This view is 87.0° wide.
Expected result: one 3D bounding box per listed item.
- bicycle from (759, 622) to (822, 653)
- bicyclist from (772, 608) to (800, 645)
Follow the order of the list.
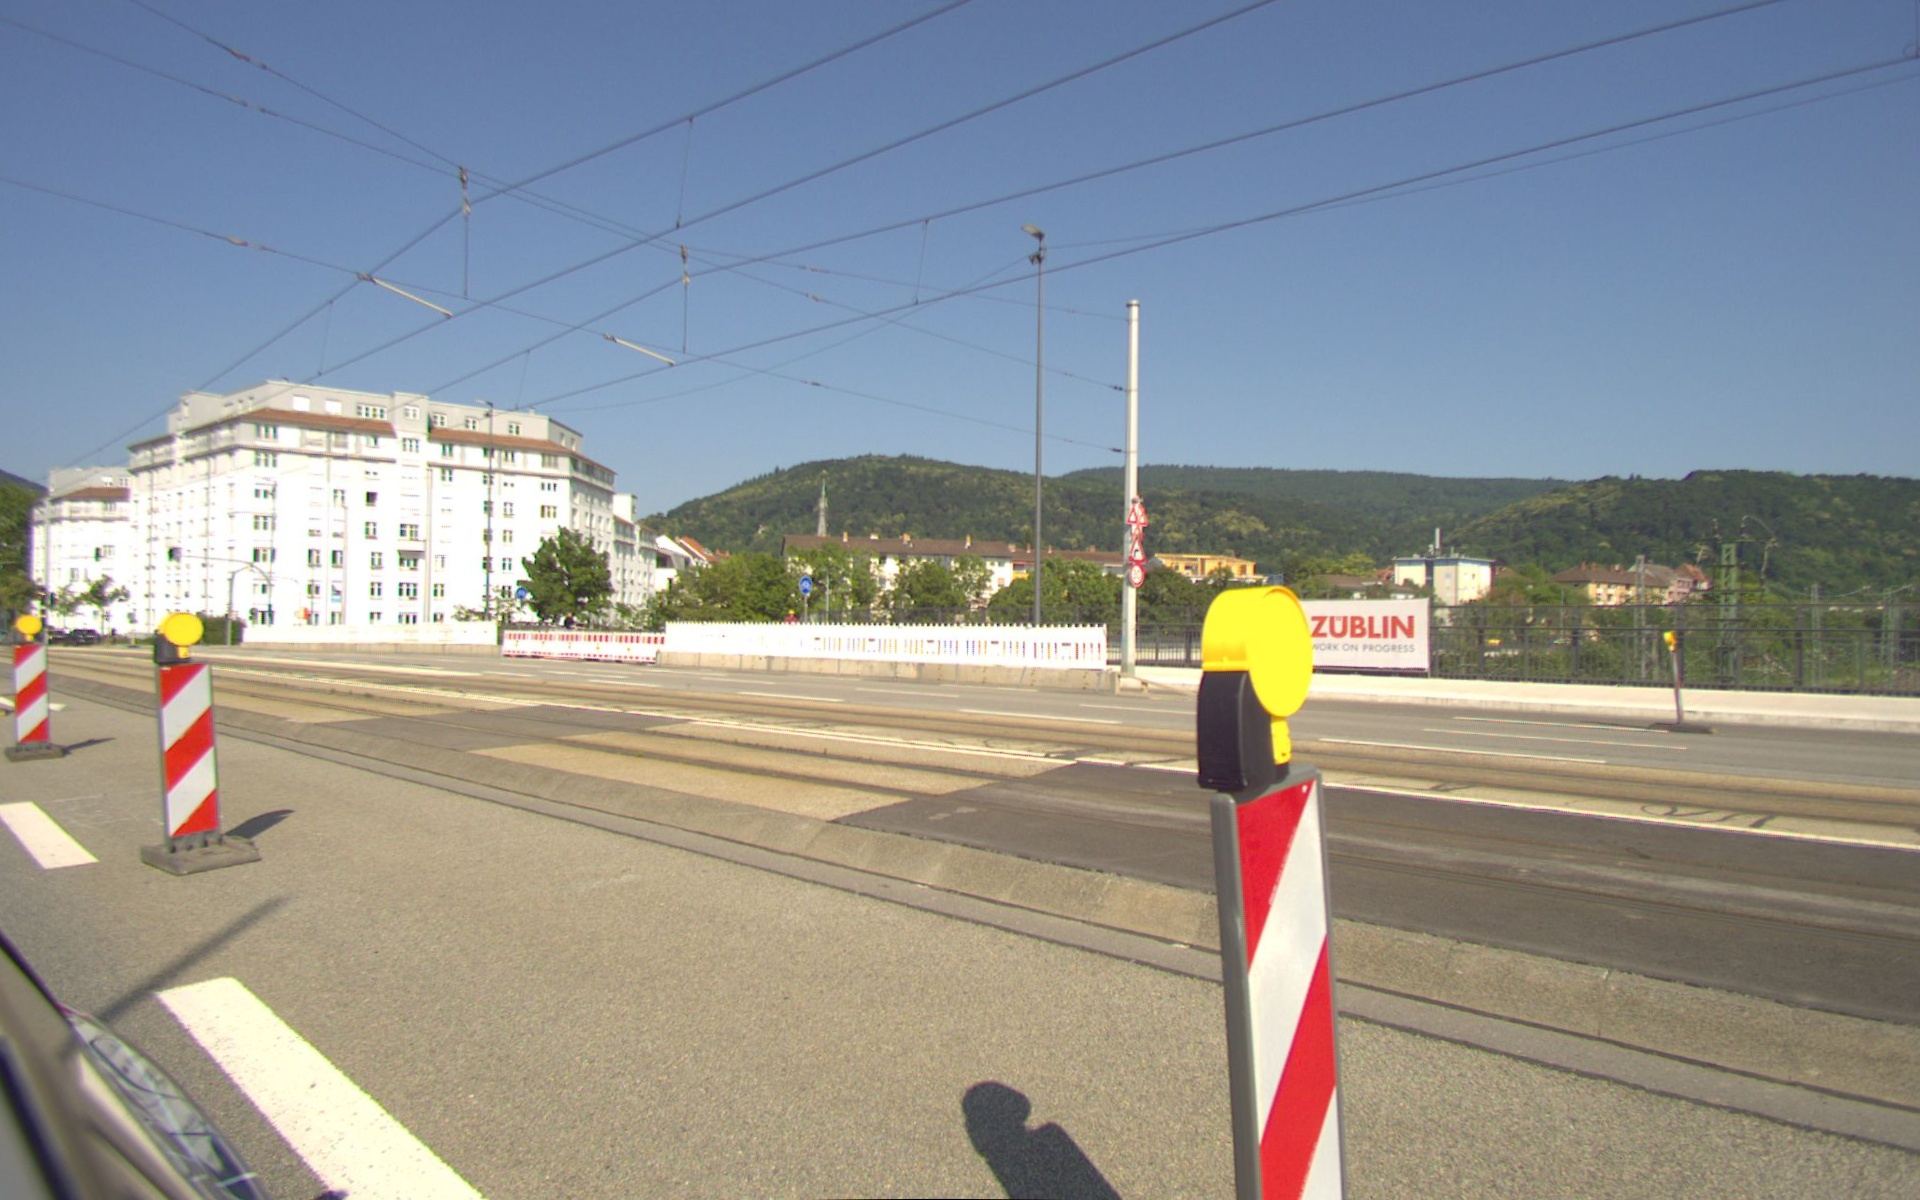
[{"bbox_3d":[-7.046,1.526,41.909,3.070,1.204,0.847,-1,0,41],"label":"bicycle"},{"bbox_3d":[-7.247,1.095,42.099,0.817,1.530,0.847,-1,-1,41],"label":"bicyclist"}]
